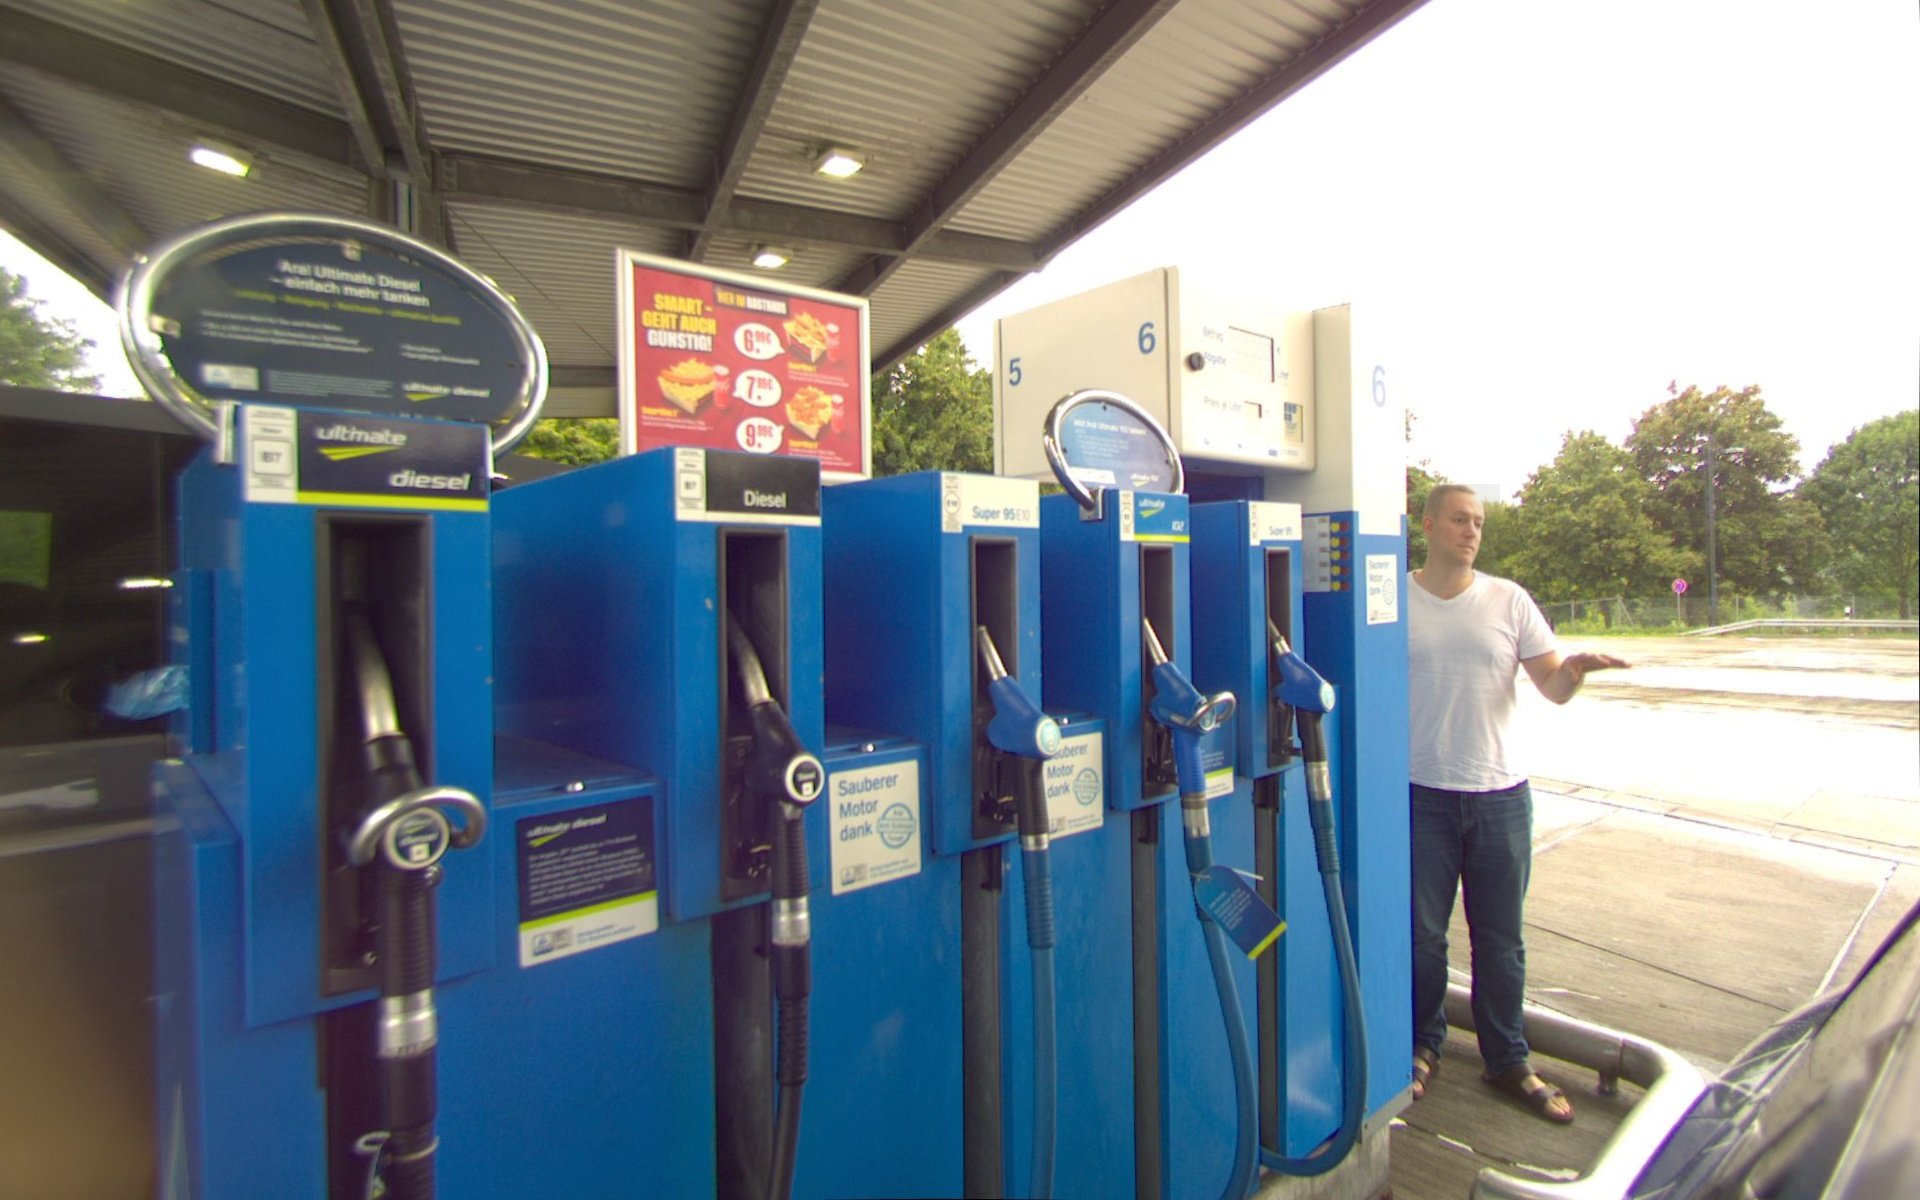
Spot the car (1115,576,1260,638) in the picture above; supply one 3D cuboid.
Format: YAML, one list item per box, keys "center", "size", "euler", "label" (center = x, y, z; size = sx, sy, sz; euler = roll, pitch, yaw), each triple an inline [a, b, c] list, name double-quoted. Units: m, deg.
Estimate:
- center: [7.740, 0.208, 34.662]
  size: [4.700, 2.011, 2.007]
  euler: [0, 0, 14]
  label: "car"

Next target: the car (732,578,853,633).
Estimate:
- center: [-5.589, 0.147, 33.502]
  size: [1.967, 1.683, 4.170]
  euler: [0, 0, -44]
  label: "car"

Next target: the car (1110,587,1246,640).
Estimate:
- center: [6.979, 0.398, 32.270]
  size: [4.123, 1.576, 1.990]
  euler: [1, 0, 17]
  label: "car"

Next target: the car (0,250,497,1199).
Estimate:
- center: [-3.024, 0.427, 1.475]
  size: [3.930, 1.973, 1.819]
  euler: [0, 0, -41]
  label: "car"

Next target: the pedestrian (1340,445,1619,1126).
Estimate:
- center: [1.516, 0.500, 3.038]
  size: [0.625, 1.832, 0.492]
  euler: [-1, 1, 15]
  label: "pedestrian"

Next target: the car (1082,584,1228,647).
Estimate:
- center: [5.810, 0.418, 30.009]
  size: [4.123, 1.752, 1.990]
  euler: [0, 0, 17]
  label: "car"
